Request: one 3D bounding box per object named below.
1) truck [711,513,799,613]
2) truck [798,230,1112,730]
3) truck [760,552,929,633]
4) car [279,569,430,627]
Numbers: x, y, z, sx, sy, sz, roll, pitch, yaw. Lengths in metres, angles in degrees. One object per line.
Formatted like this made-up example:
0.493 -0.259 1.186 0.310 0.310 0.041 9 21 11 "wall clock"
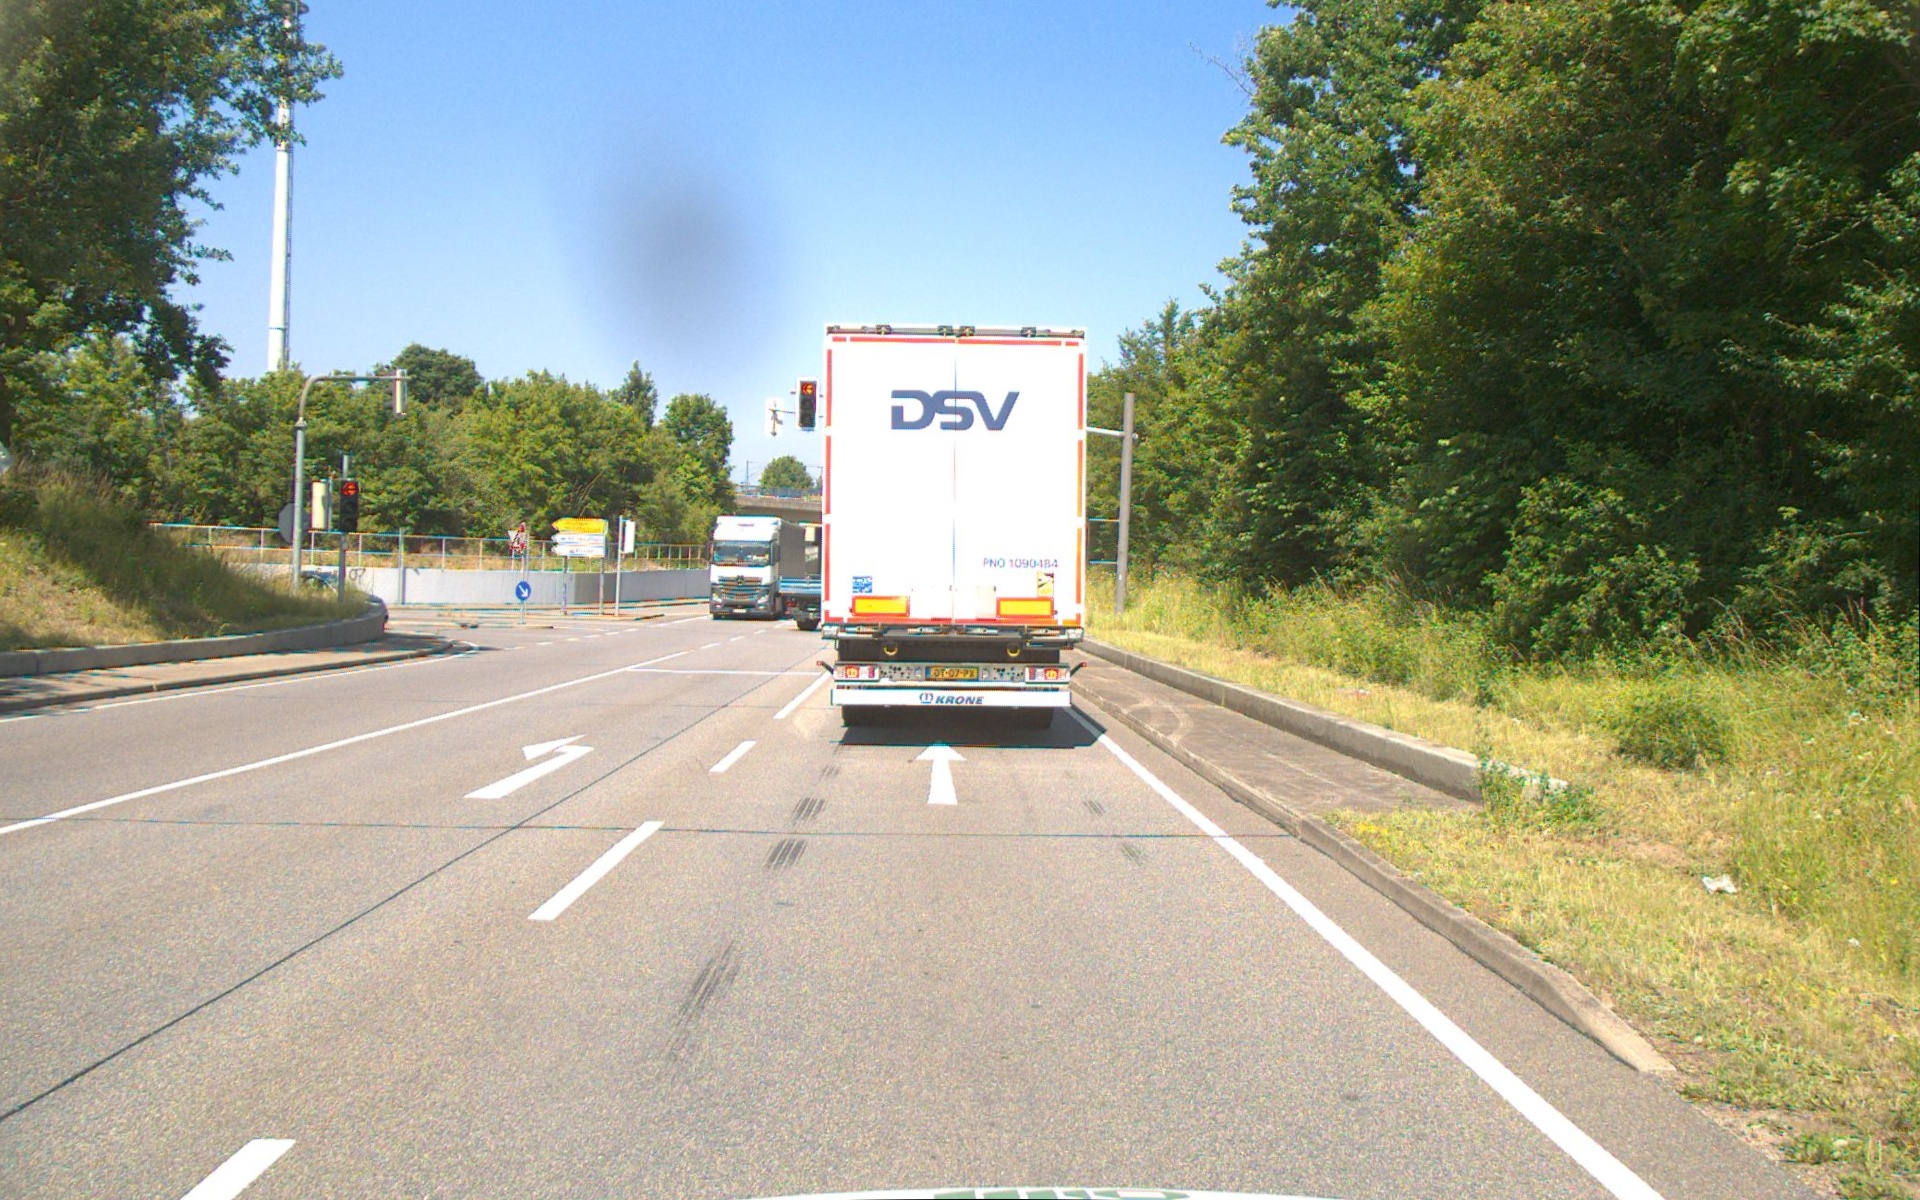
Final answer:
-8.498 -1.567 69.969 2.305 3.815 12.624 1 1 -1 "truck"
-0.137 -1.163 20.427 2.890 4.648 9.860 1 0 -1 "truck"
-3.809 -0.235 56.004 2.654 2.543 6.422 2 1 28 "truck"
-16.464 -0.054 45.072 3.514 1.495 1.592 1 1 1 "car"
